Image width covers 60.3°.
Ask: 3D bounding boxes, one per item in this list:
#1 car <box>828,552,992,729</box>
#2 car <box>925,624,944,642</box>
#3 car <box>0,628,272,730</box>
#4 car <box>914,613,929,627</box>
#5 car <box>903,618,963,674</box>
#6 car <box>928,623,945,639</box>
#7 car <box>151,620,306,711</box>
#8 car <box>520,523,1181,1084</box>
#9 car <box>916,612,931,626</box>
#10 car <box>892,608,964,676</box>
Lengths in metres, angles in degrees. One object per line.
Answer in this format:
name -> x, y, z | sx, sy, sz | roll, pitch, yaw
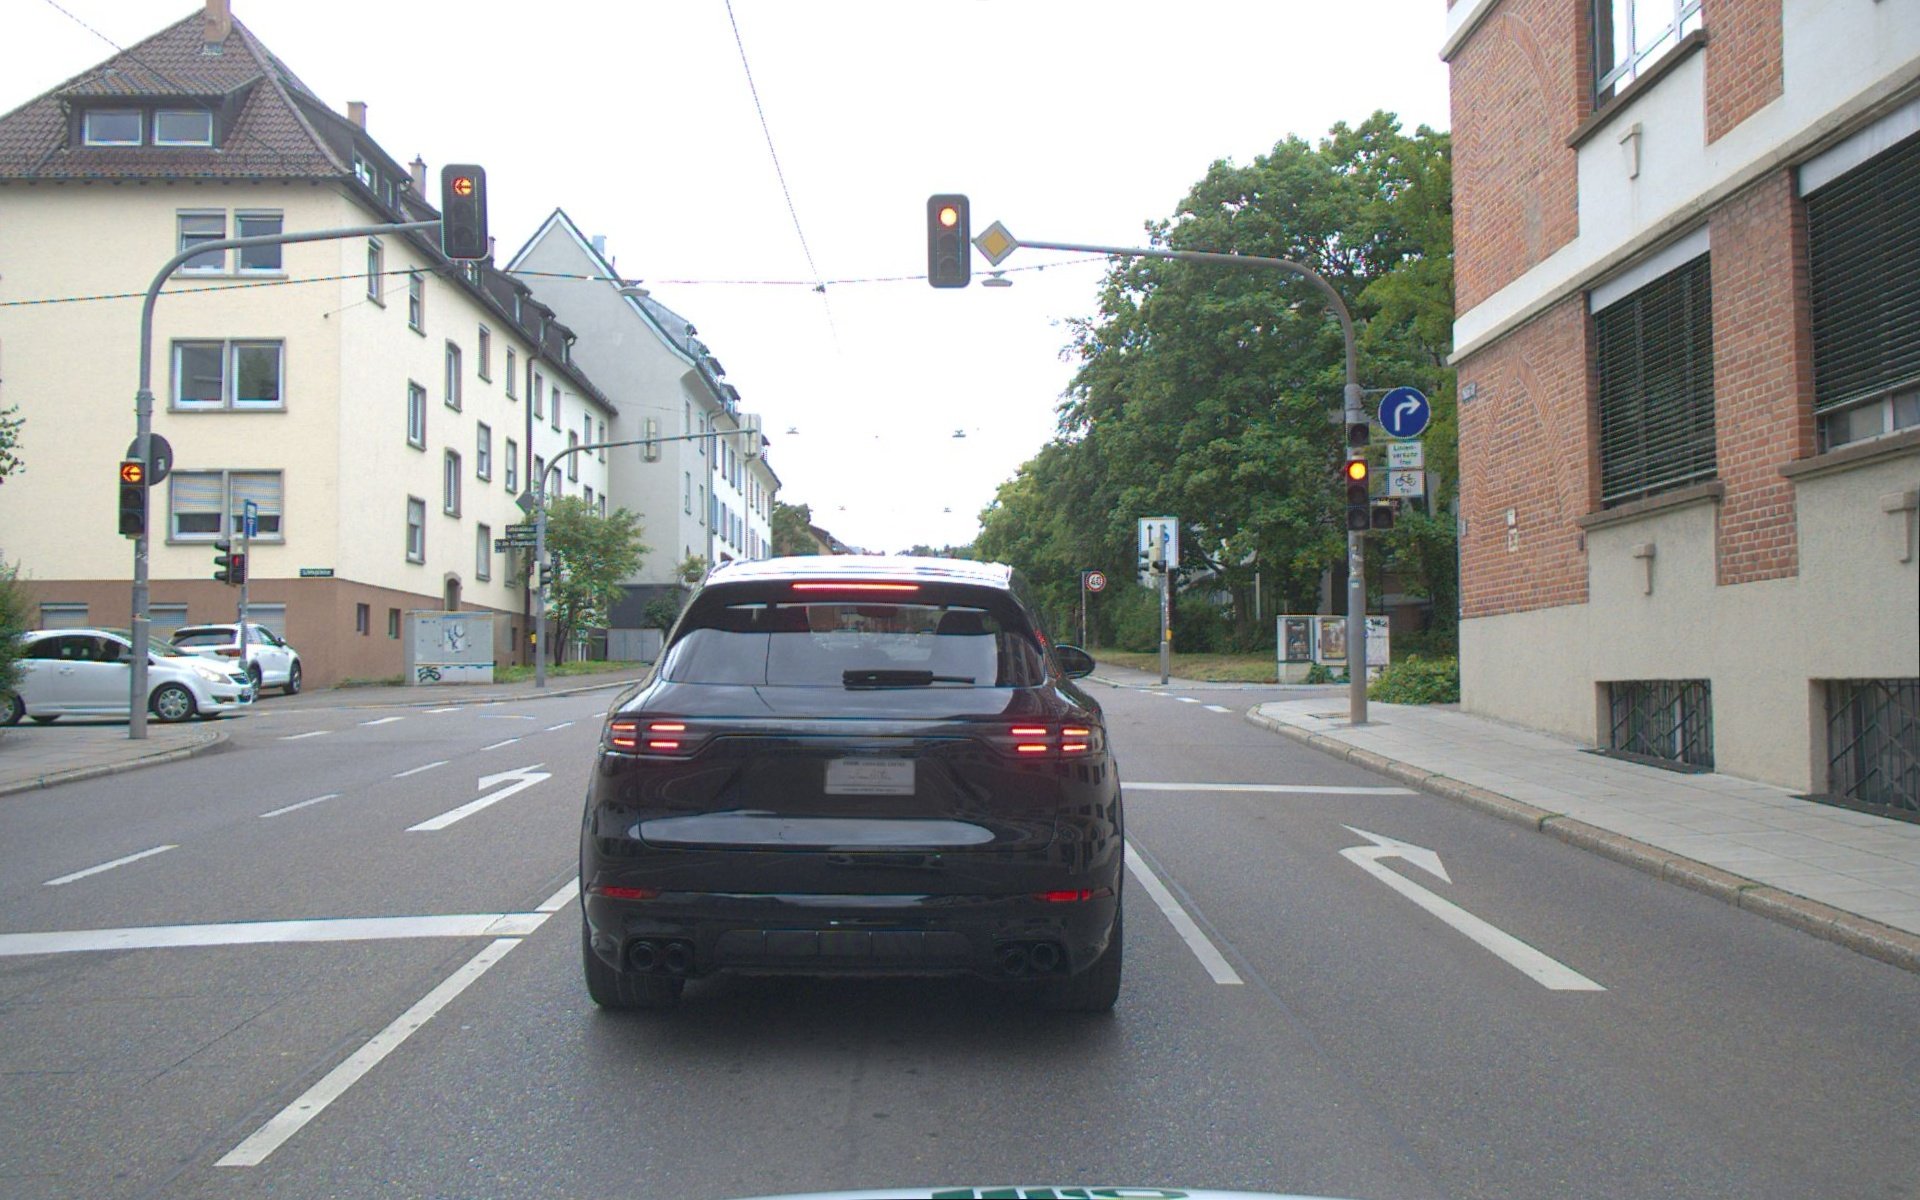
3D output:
car -> -0.617, 0.478, 21.882 | 1.925, 2.078, 4.134 | 1, 0, -1
car -> -2.513, 3.276, 163.221 | 1.790, 1.633, 4.134 | 1, 0, -1
car -> -13.050, 1.206, 25.707 | 3.976, 1.417, 1.694 | -1, 0, -6
car -> -4.700, 2.464, 202.837 | 1.790, 1.633, 4.134 | 1, 0, -1
car -> -0.840, 1.430, 52.506 | 1.790, 1.633, 3.858 | 1, 0, -1
car -> -2.583, 3.441, 182.393 | 1.790, 1.633, 4.134 | 1, 0, -1
car -> -14.720, 1.274, 33.489 | 1.658, 1.582, 3.762 | -3, 0, -5
car -> -0.353, 0.624, 7.236 | 2.007, 1.695, 4.266 | 1, 0, -1
car -> -4.627, 2.414, 210.164 | 1.790, 1.633, 4.134 | 1, 0, -1
car -> -0.835, 1.076, 43.794 | 1.790, 1.633, 4.134 | 1, 0, -1
